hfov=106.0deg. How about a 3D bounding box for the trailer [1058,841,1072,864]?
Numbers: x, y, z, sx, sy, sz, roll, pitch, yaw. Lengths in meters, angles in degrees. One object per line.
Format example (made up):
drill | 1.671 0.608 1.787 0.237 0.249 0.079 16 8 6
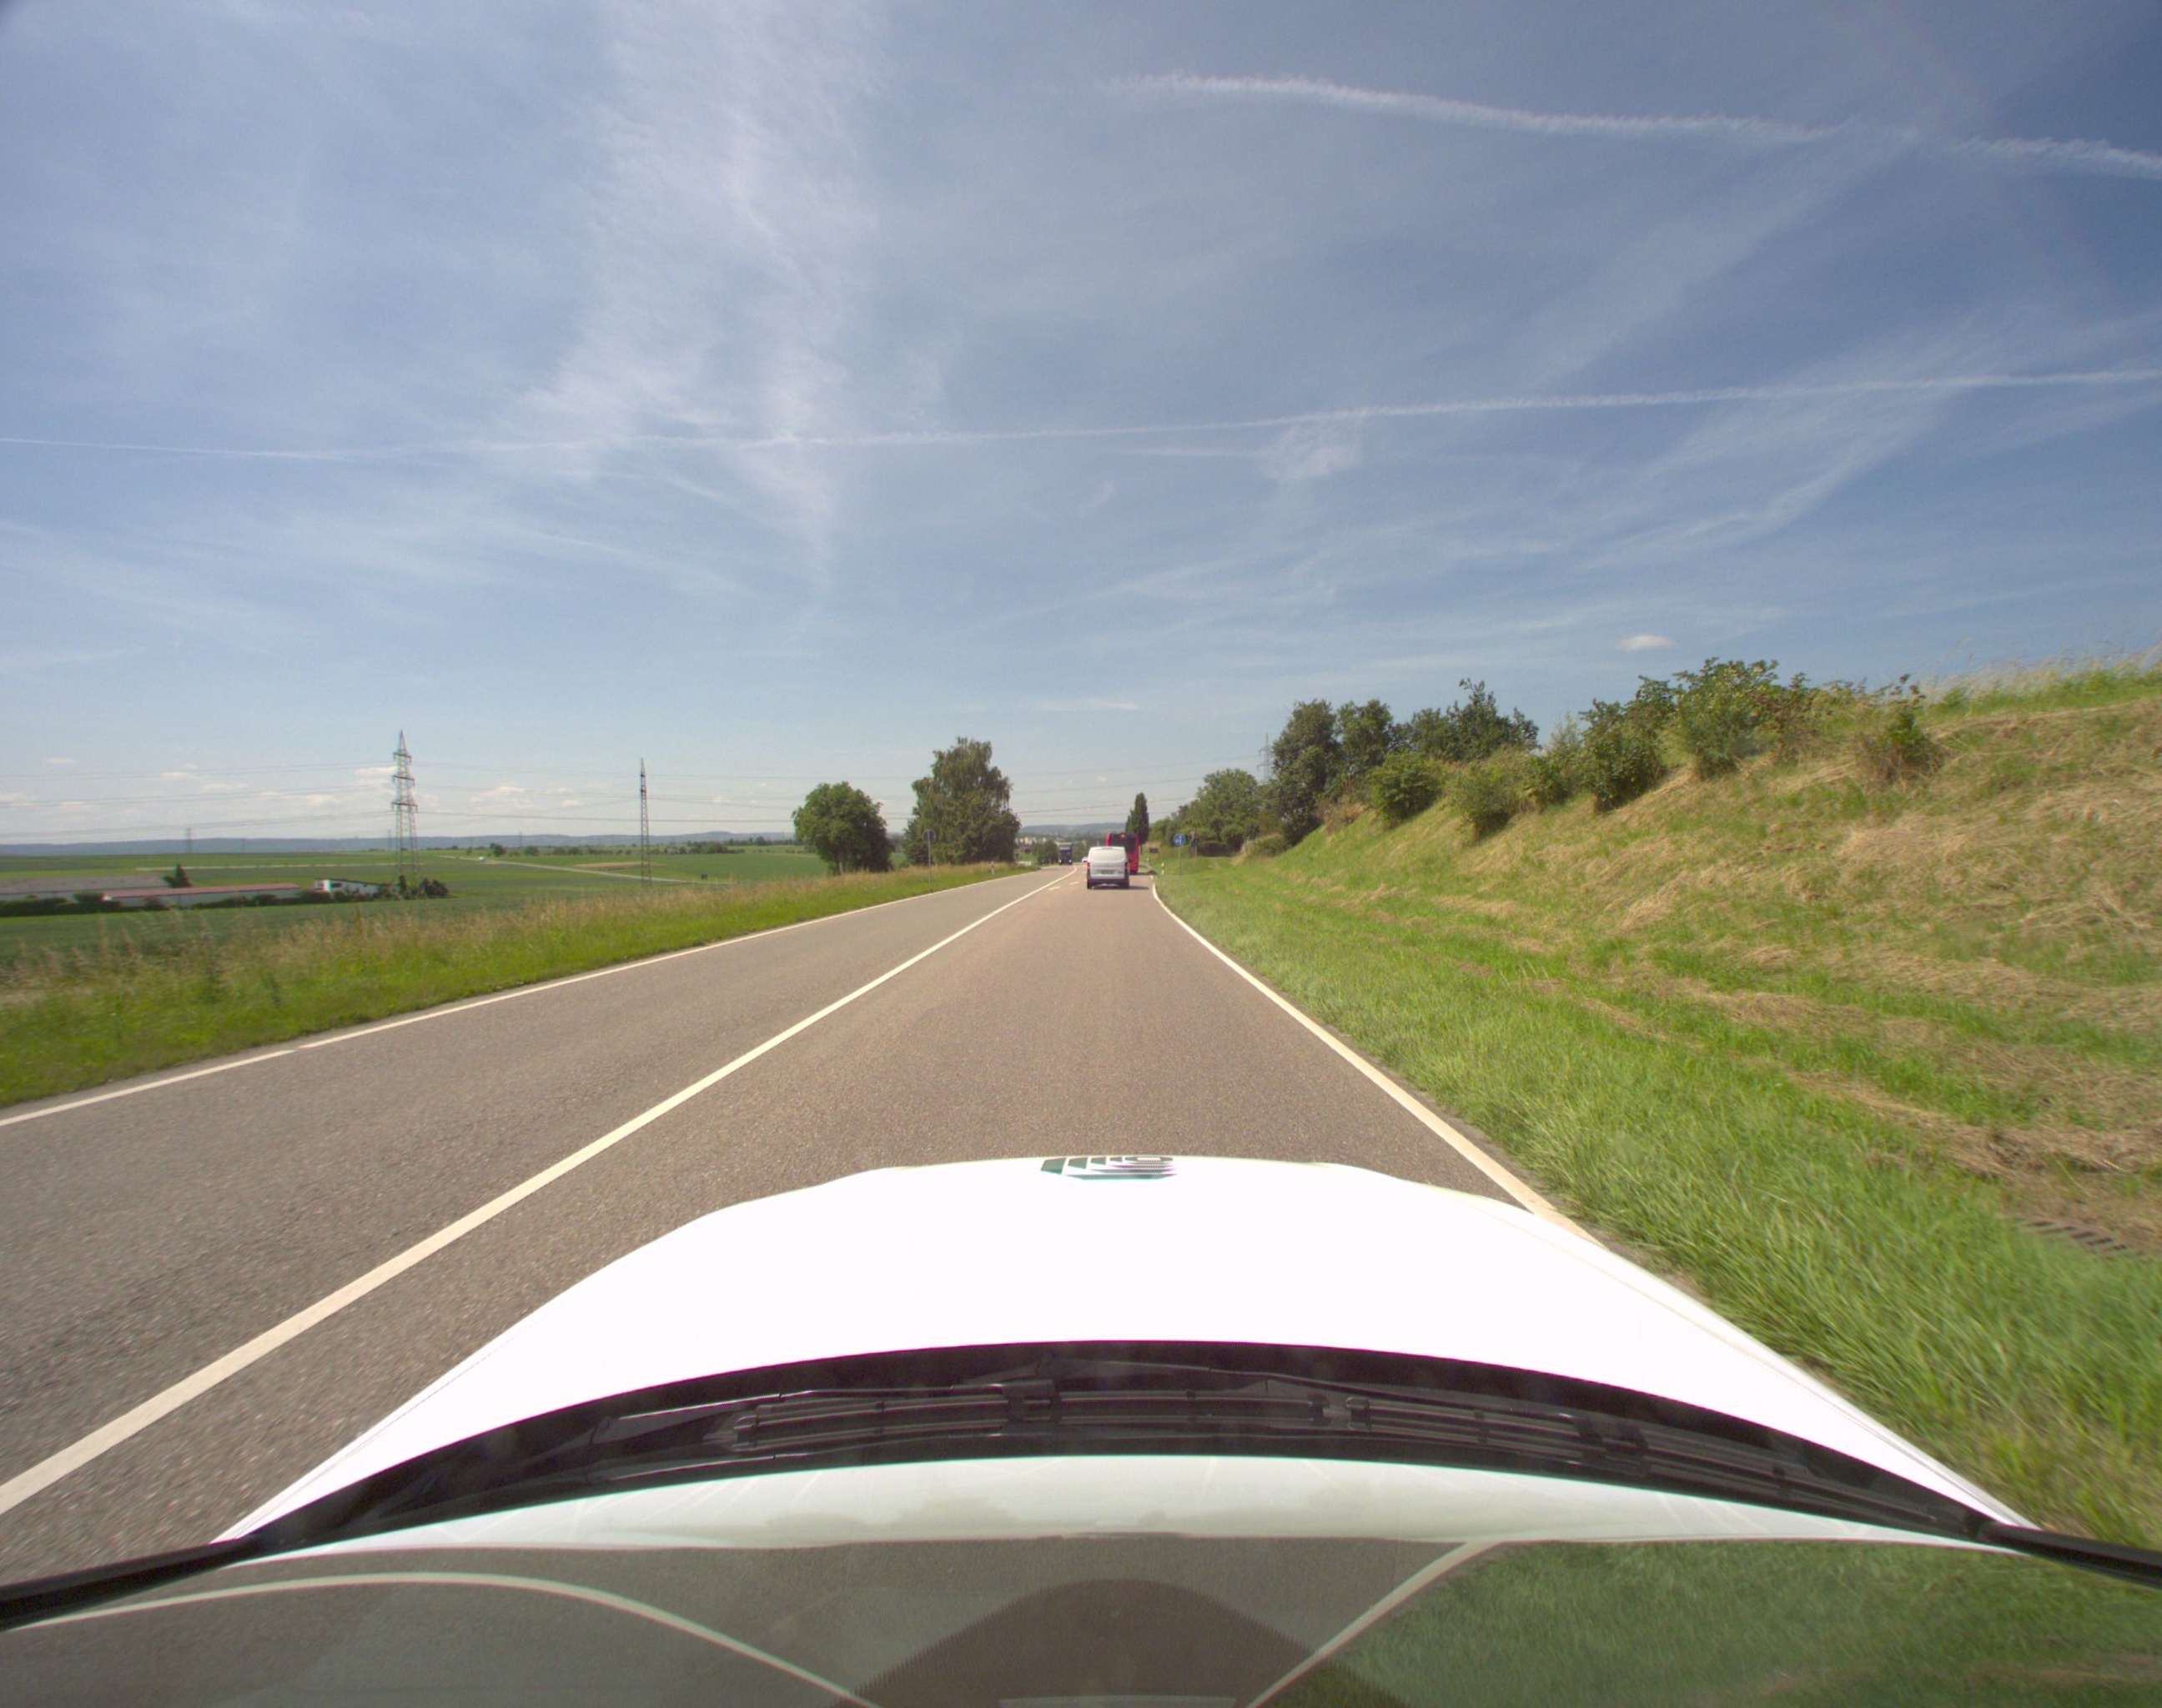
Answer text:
trailer | -3.010 -0.239 157.520 2.584 4.143 13.737 -1 0 0

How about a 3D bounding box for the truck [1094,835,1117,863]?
truck | 4.017 -0.788 135.992 3.475 4.423 14.907 -2 0 1

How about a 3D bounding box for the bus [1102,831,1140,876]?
bus | 3.351 -0.214 68.773 2.736 3.353 13.231 -3 1 2

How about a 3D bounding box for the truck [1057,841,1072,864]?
truck | -2.976 -0.272 150.499 2.577 4.104 5.440 -1 0 0

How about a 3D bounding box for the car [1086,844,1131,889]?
car | 1.281 0.518 37.324 1.915 1.889 4.003 -2 0 2
